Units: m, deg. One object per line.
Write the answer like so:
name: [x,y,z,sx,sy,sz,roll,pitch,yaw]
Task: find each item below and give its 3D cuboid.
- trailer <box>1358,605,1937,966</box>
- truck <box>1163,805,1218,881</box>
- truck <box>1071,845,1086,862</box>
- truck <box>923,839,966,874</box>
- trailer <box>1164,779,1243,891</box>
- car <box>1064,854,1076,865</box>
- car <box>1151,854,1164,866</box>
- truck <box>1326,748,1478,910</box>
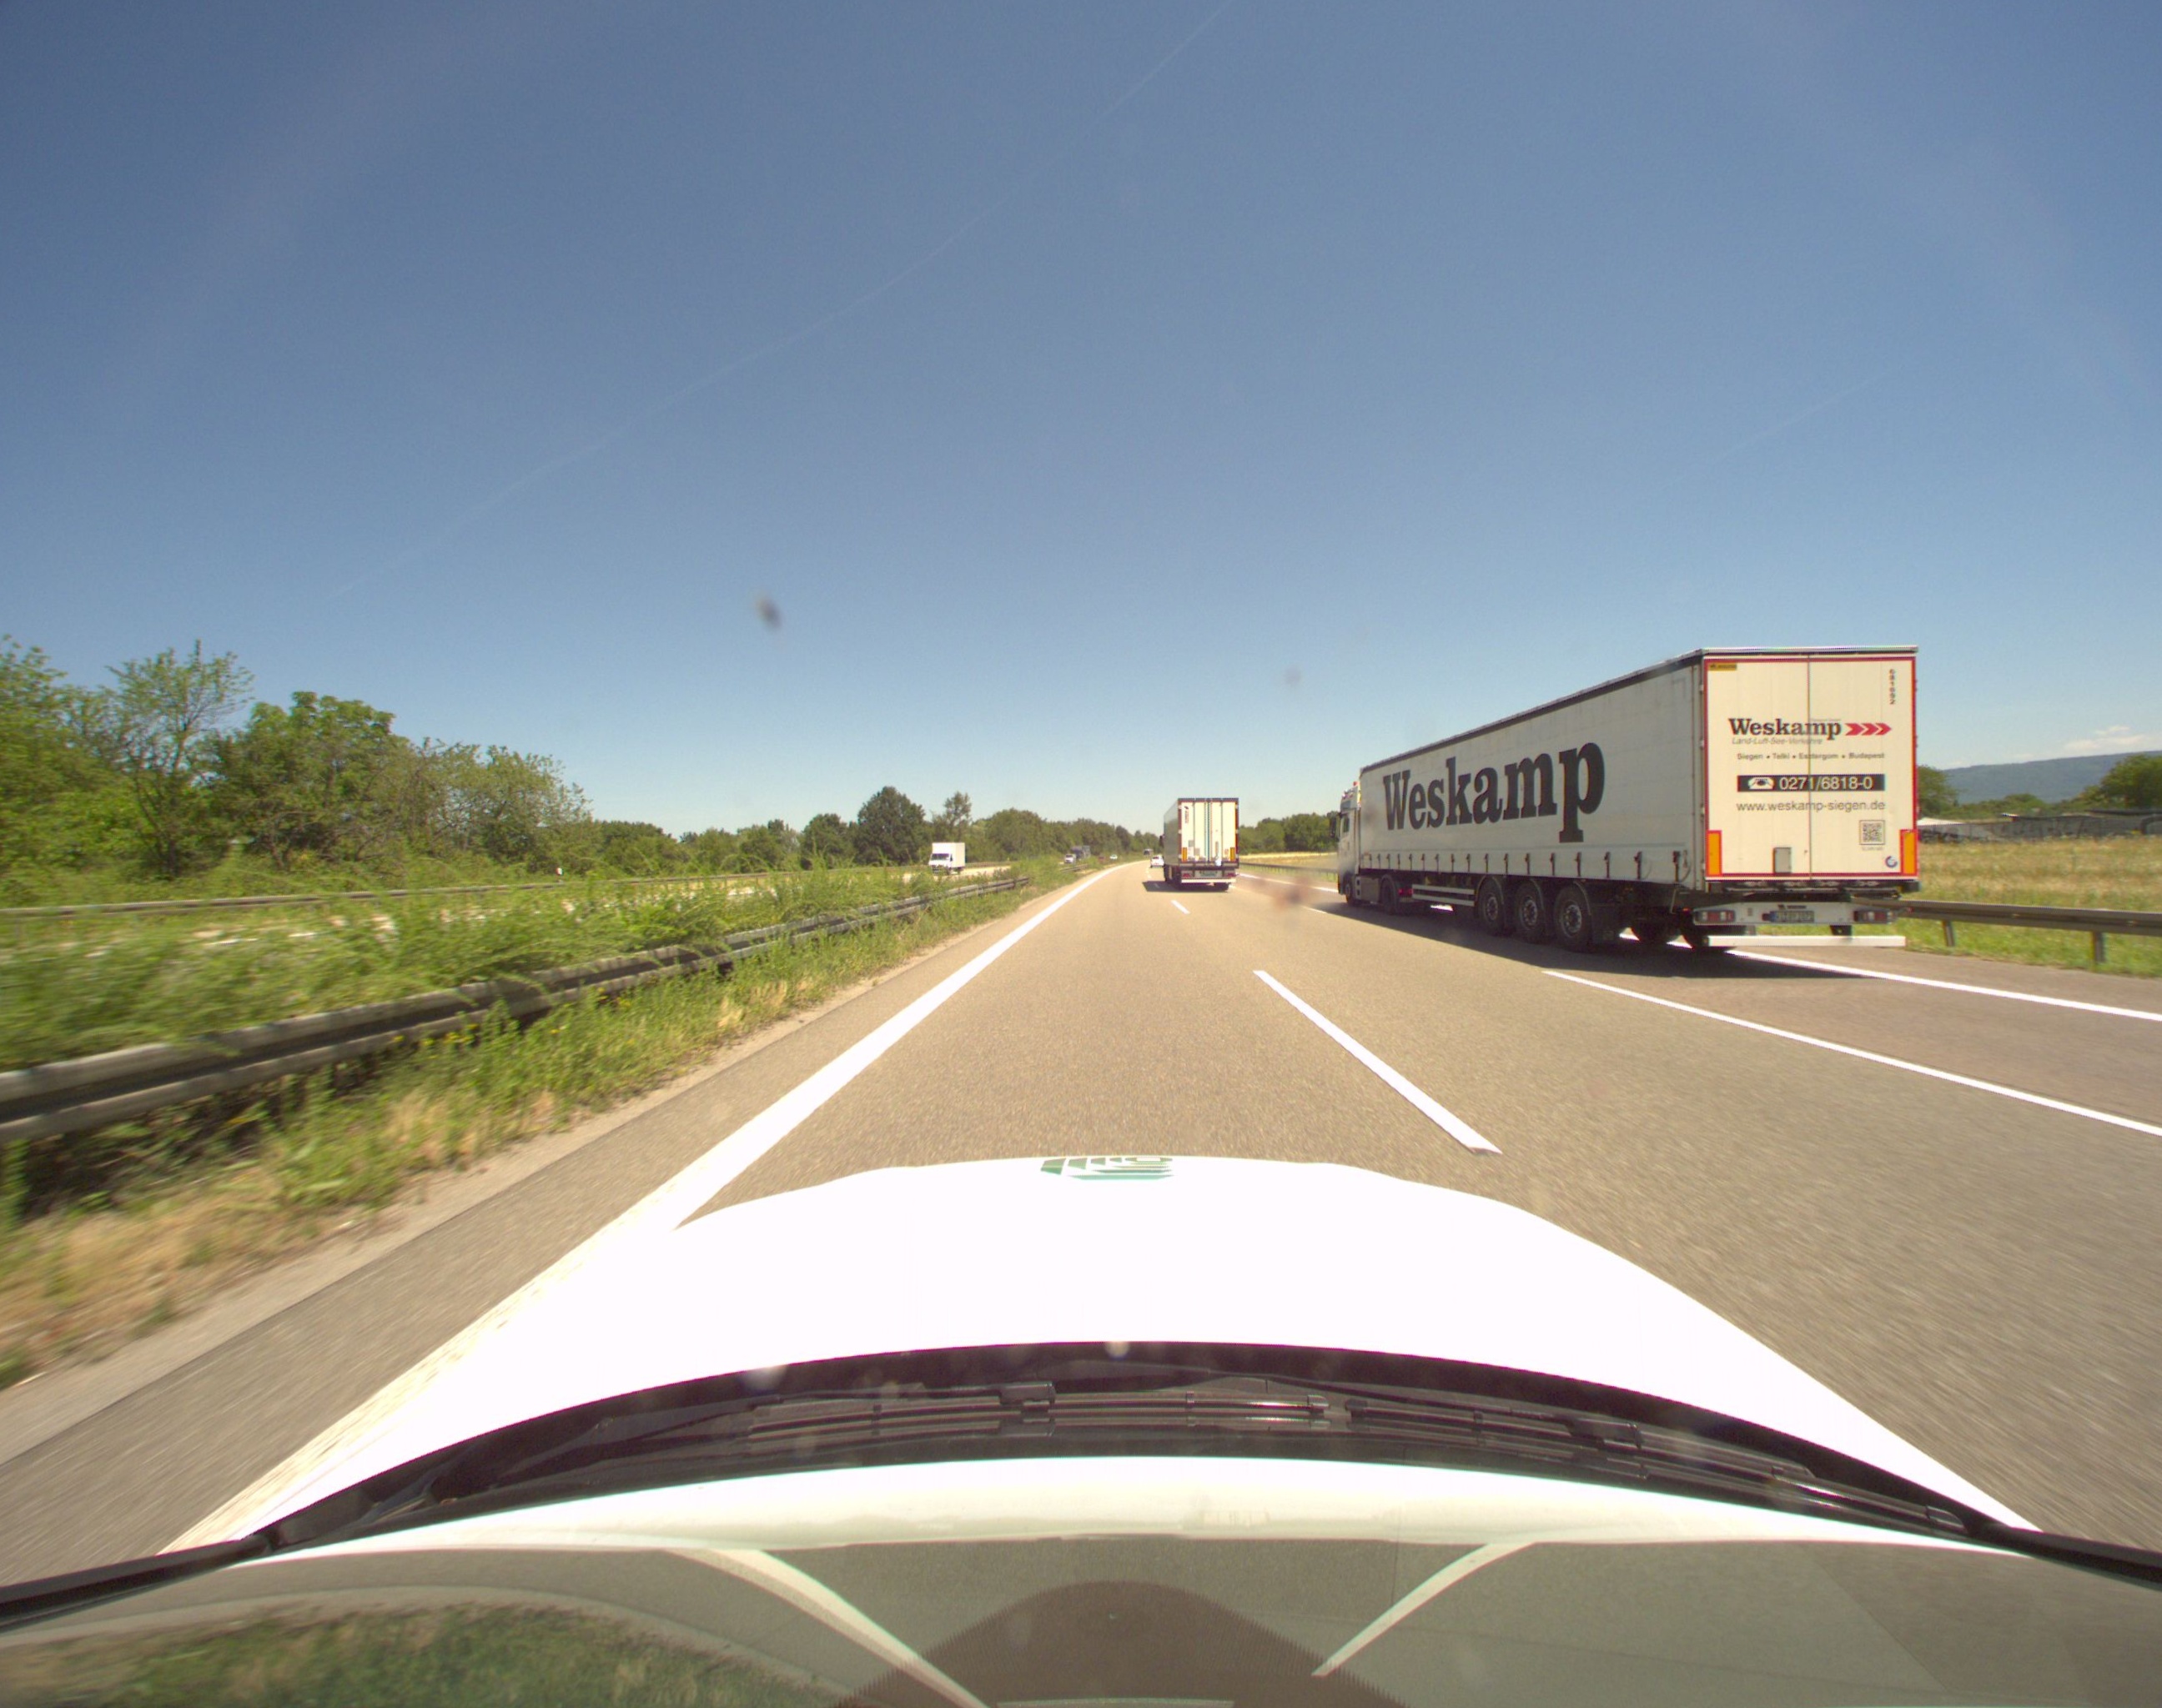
trailer: [8.984,-0.730,16.425,2.585,4.252,13.646,0,-1,2]
truck: [6.423,-0.613,48.444,2.895,4.256,4.981,0,0,4]
truck: [-0.510,-0.133,192.221,2.878,3.916,4.008,-1,0,7]
truck: [-12.820,0.256,76.981,2.441,3.099,6.997,-1,0,4]
trailer: [5.881,-0.797,41.321,2.888,4.657,14.003,0,0,4]
car: [-2.168,1.116,162.139,2.050,2.071,5.412,-2,0,3]
car: [9.959,0.825,105.358,1.619,1.479,4.007,-1,0,6]
truck: [9.255,-0.653,24.095,2.590,4.256,5.091,0,0,2]
